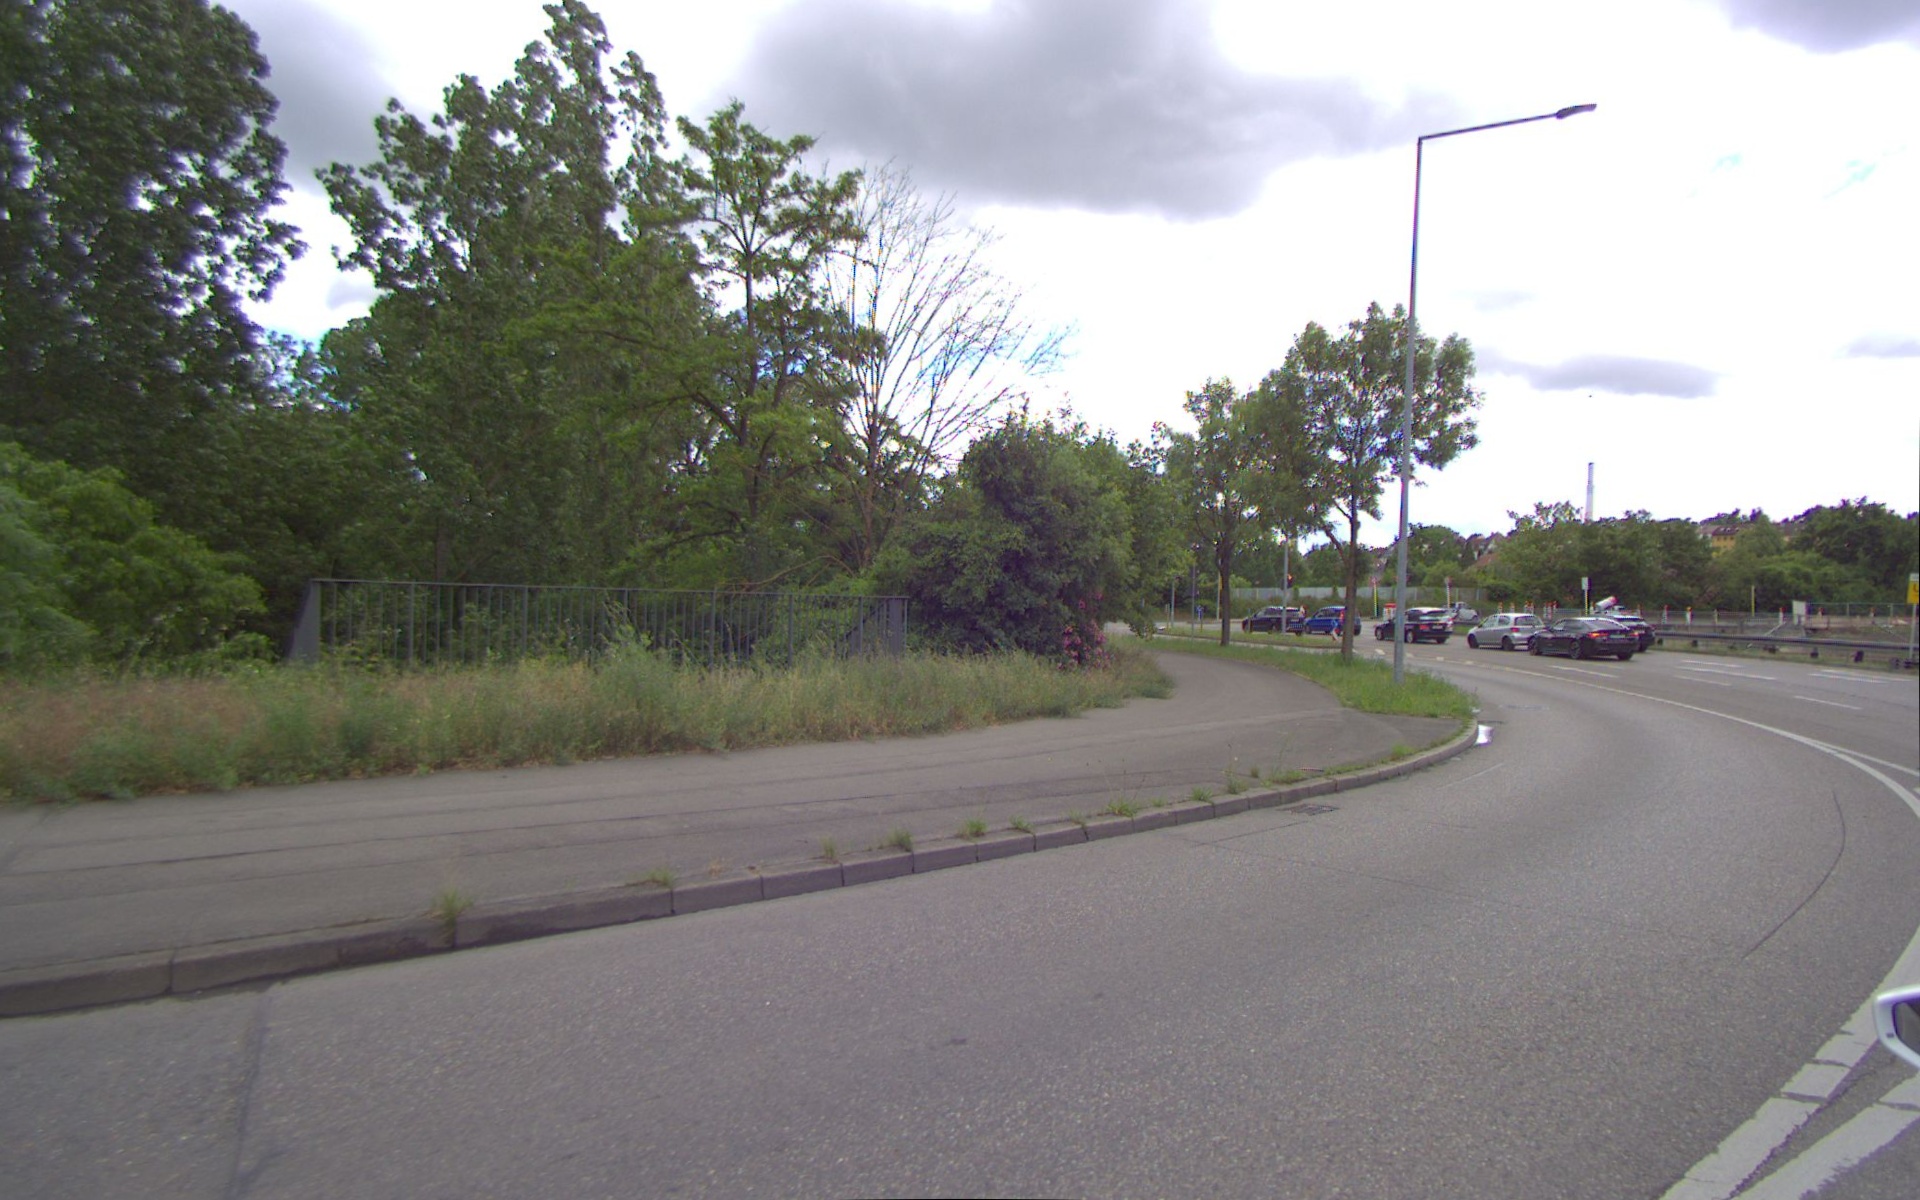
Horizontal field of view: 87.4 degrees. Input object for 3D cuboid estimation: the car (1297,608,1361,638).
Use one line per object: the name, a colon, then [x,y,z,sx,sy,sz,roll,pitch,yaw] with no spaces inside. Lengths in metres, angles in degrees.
car: [20.320,1.241,55.369,1.524,1.527,3.365,-1,1,-20]

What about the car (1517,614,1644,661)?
car: [22.622,1.325,36.881,1.841,1.496,4.965,-1,0,3]

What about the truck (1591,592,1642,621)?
truck: [52.489,0.504,80.282,3.959,2.040,1.981,3,1,-34]

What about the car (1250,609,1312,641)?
car: [17.392,1.322,54.595,1.632,1.527,3.762,-2,1,-10]

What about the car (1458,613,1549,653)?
car: [22.866,1.350,42.370,1.642,1.489,3.626,-2,0,-5]

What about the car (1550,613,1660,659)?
car: [26.354,1.428,41.226,1.842,1.658,4.204,-1,0,0]

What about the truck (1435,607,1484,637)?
truck: [37.665,1.652,75.763,3.187,2.040,1.728,3,1,-28]

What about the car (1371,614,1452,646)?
car: [21.585,1.393,48.179,1.540,1.386,4.076,-2,0,-10]

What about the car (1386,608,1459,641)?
car: [24.986,1.290,54.416,1.686,1.697,3.994,2,-1,-9]
